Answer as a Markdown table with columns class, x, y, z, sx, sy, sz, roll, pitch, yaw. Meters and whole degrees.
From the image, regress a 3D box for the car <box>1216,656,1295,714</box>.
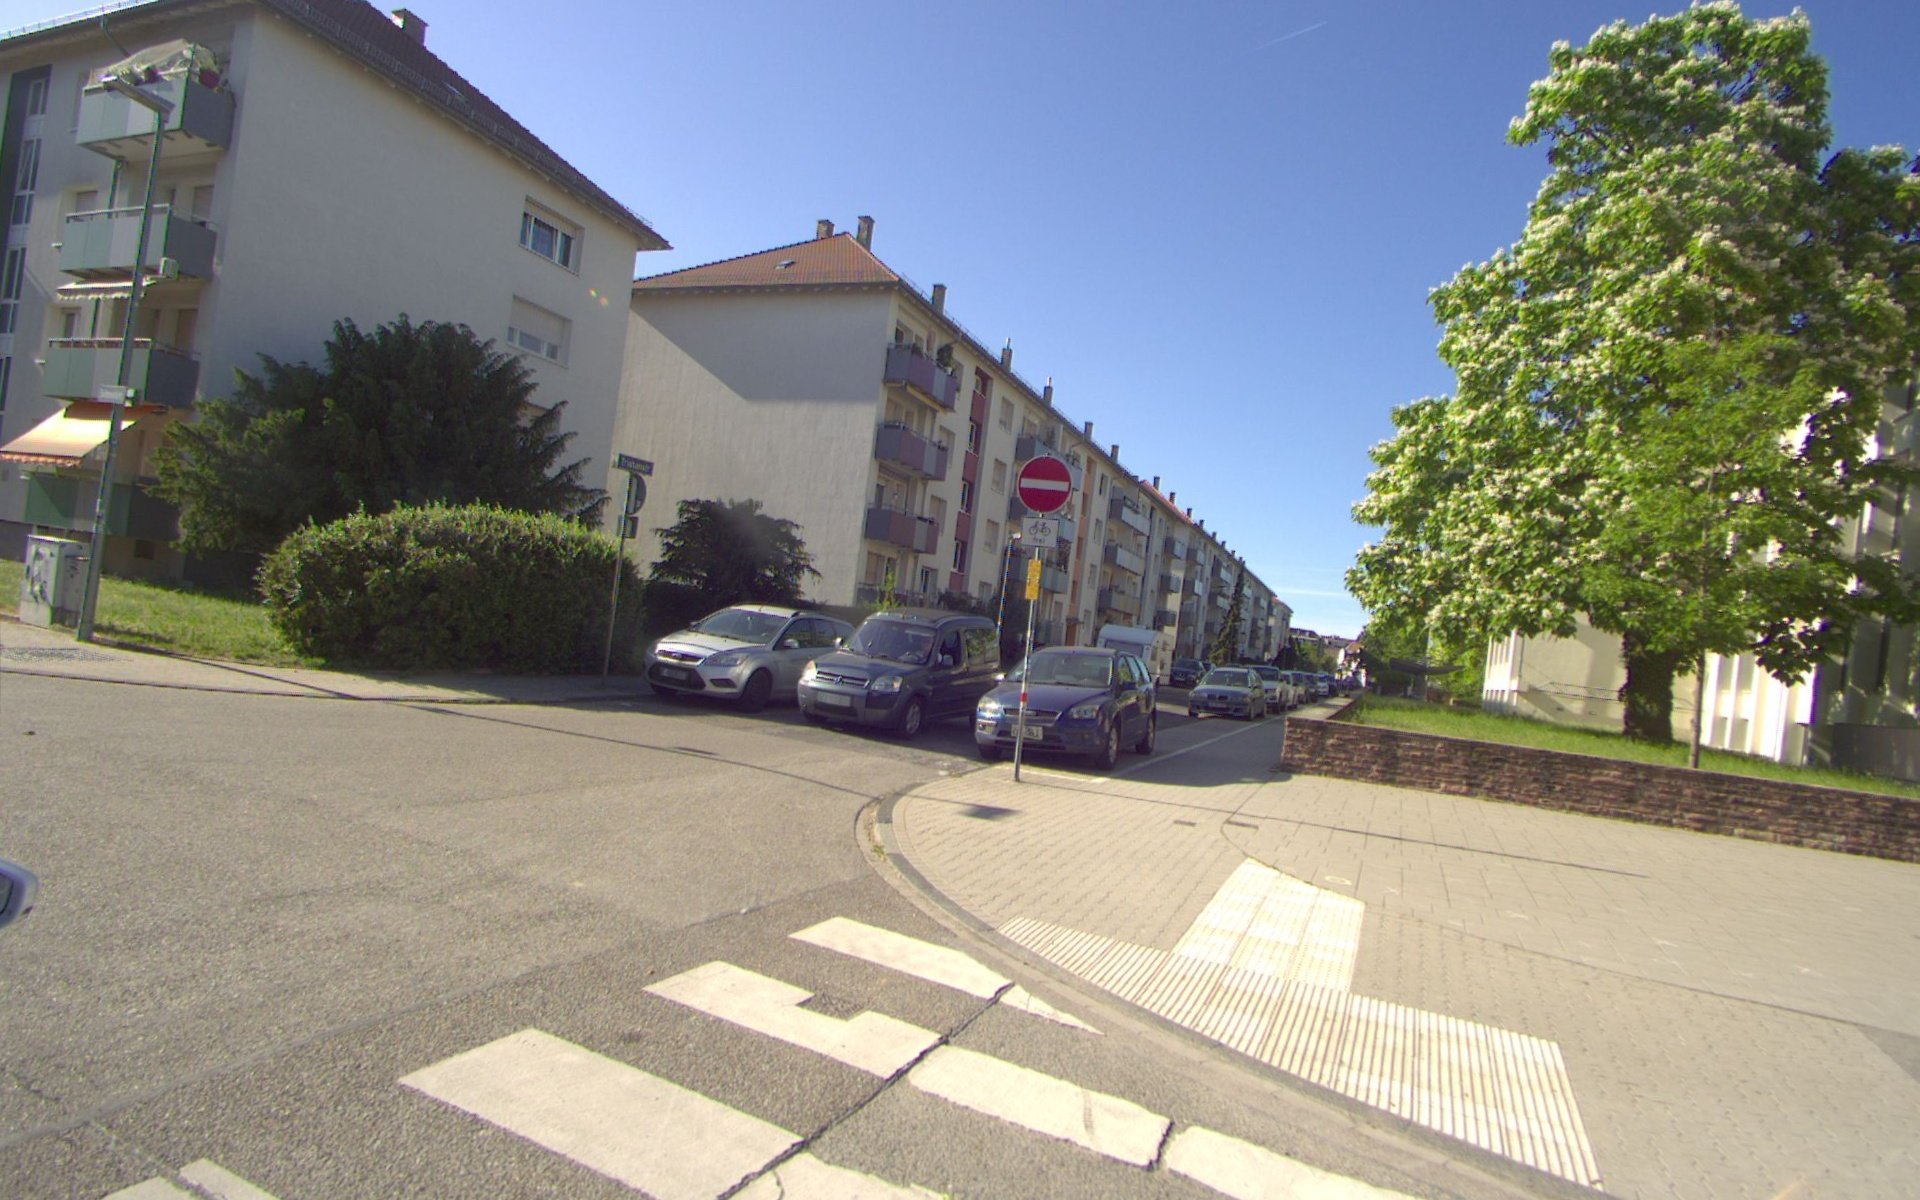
| class | x | y | z | sx | sy | sz | roll | pitch | yaw |
| --- | --- | --- | --- | --- | --- | --- | --- | --- | --- |
| car | 10.339 | 2.950 | 34.953 | 1.964 | 1.647 | 4.562 | 7 | -2 | 24 |

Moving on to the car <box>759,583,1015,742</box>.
| class | x | y | z | sx | sy | sz | roll | pitch | yaw |
| --- | --- | --- | --- | --- | --- | --- | --- | --- | --- |
| car | -0.877 | 0.940 | 14.791 | 1.869 | 1.810 | 4.158 | 7 | -2 | 24 |

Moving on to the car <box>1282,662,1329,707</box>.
| class | x | y | z | sx | sy | sz | roll | pitch | yaw |
| --- | --- | --- | --- | --- | --- | --- | --- | --- | --- |
| car | 18.134 | 4.411 | 52.689 | 1.751 | 2.037 | 4.562 | 7 | -2 | 24 |

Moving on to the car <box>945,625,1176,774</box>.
| class | x | y | z | sx | sy | sz | roll | pitch | yaw |
| --- | --- | --- | --- | --- | --- | --- | --- | --- | --- |
| car | 1.584 | 1.316 | 13.838 | 1.872 | 1.491 | 4.563 | 6 | -2 | 22 |

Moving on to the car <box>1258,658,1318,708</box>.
| class | x | y | z | sx | sy | sz | roll | pitch | yaw |
| --- | --- | --- | --- | --- | --- | --- | --- | --- | --- |
| car | 15.579 | 3.956 | 47.633 | 1.965 | 2.037 | 4.560 | 7 | -2 | 26 |

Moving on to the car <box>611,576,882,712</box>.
| class | x | y | z | sx | sy | sz | roll | pitch | yaw |
| --- | --- | --- | --- | --- | --- | --- | --- | --- | --- |
| car | -3.126 | 0.753 | 15.803 | 1.879 | 1.642 | 4.424 | 7 | -2 | 22 |

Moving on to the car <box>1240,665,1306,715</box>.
| class | x | y | z | sx | sy | sz | roll | pitch | yaw |
| --- | --- | --- | --- | --- | --- | --- | --- | --- | --- |
| car | 12.361 | 3.548 | 39.571 | 1.896 | 1.601 | 4.562 | 7 | -2 | 23 |

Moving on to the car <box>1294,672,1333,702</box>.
| class | x | y | z | sx | sy | sz | roll | pitch | yaw |
| --- | --- | --- | --- | --- | --- | --- | --- | --- | --- |
| car | 23.147 | 5.687 | 65.709 | 1.964 | 1.595 | 4.562 | 7 | -2 | 24 |

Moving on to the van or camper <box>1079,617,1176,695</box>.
| class | x | y | z | sx | sy | sz | roll | pitch | yaw |
| --- | --- | --- | --- | --- | --- | --- | --- | --- | --- |
| van or camper | 6.623 | 2.242 | 39.174 | 2.430 | 2.567 | 5.246 | 7 | -2 | 22 |

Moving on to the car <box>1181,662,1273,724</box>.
| class | x | y | z | sx | sy | sz | roll | pitch | yaw |
| --- | --- | --- | --- | --- | --- | --- | --- | --- | --- |
| car | 7.665 | 2.617 | 28.609 | 1.867 | 1.497 | 4.162 | 3 | -3 | 23 |
